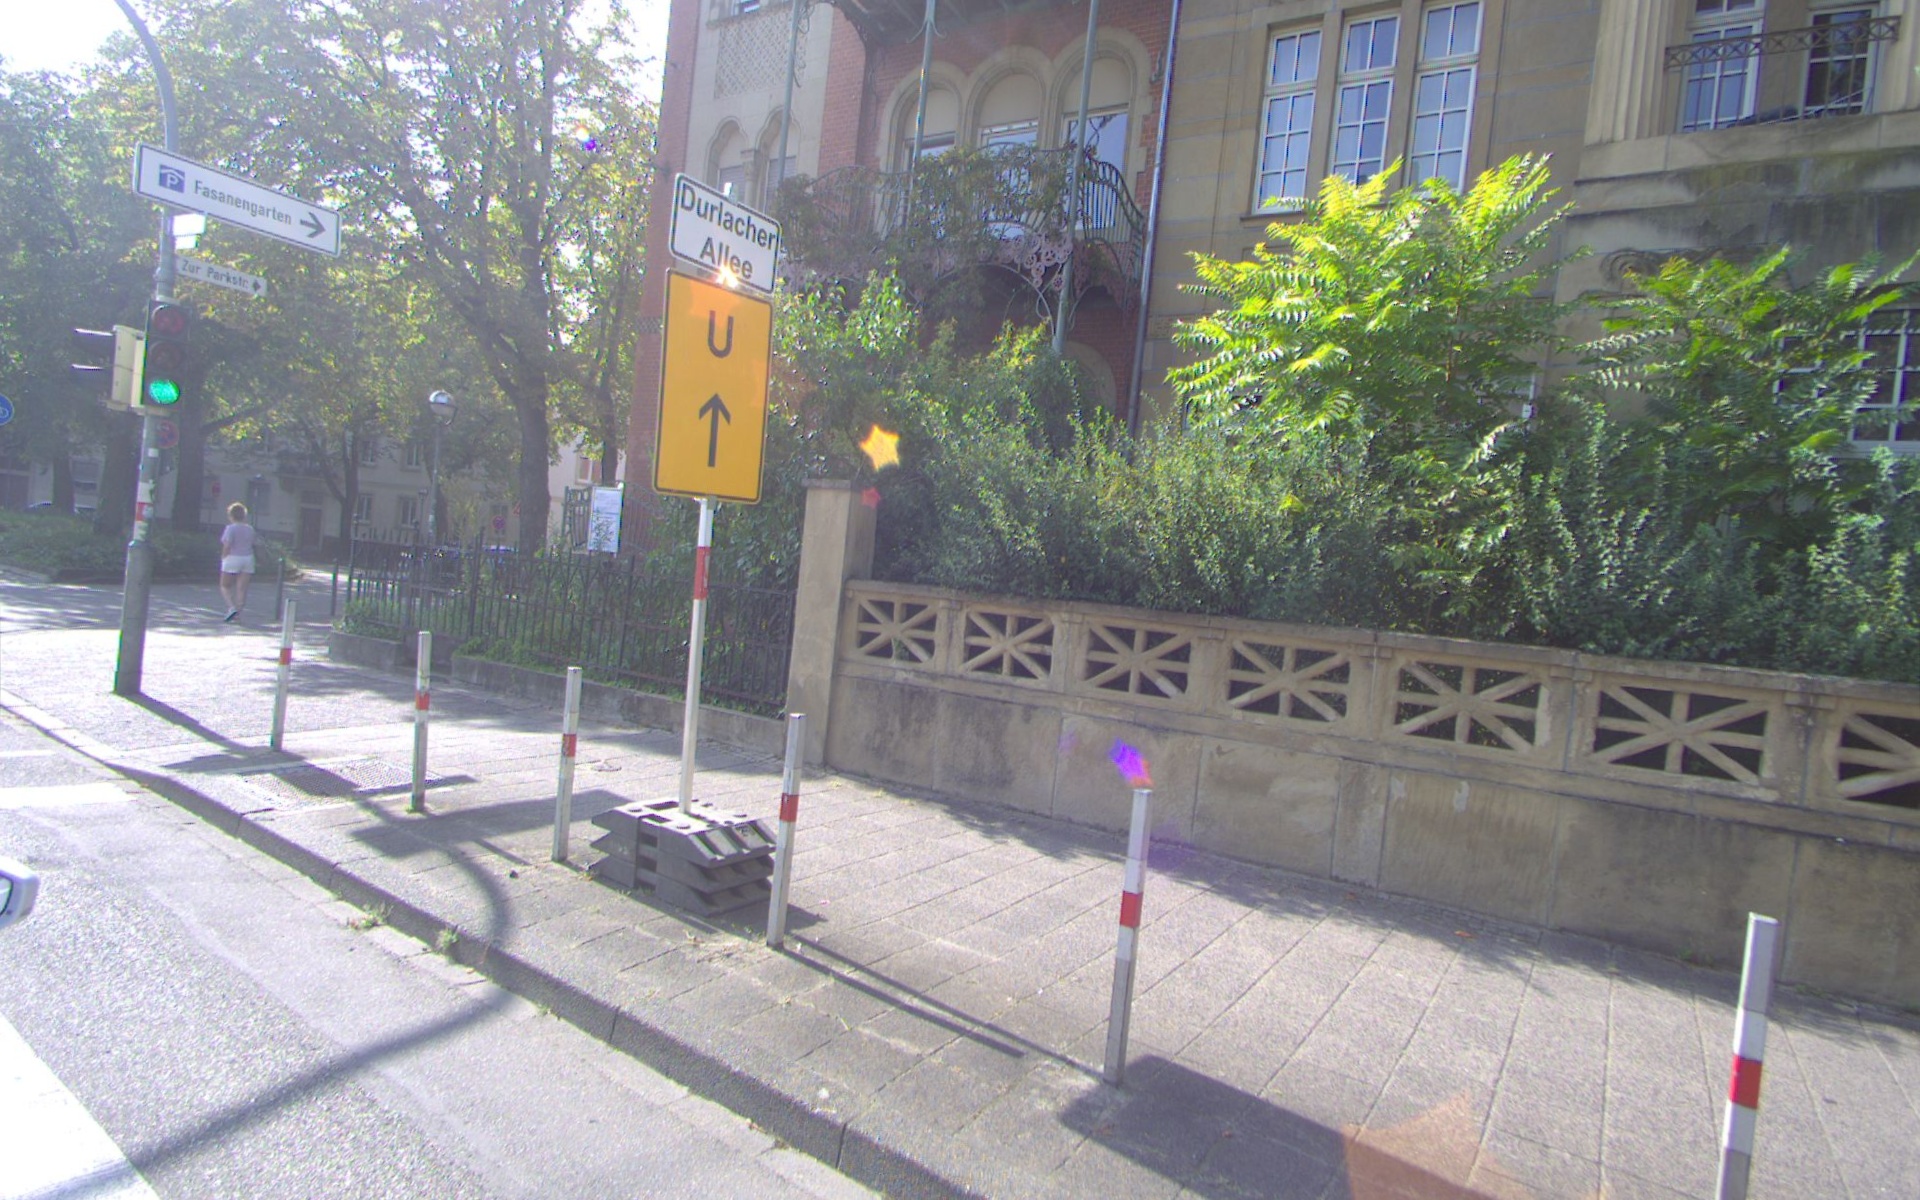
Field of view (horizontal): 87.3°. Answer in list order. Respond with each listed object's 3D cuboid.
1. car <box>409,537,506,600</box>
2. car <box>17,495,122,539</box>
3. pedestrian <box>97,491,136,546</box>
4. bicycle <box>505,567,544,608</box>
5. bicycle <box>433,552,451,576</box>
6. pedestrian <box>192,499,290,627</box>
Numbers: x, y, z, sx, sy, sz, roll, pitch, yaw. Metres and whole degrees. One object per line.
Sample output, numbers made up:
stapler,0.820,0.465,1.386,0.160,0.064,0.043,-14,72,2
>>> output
car,-14.657,-0.936,29.529,1.587,1.534,4.213,7,1,-15
car,-39.068,-3.639,44.126,4.070,1.447,1.757,6,1,22
pedestrian,-28.938,-2.789,34.515,0.887,1.762,0.767,5,1,-40
bicycle,-11.474,-0.334,26.548,0.418,0.990,1.767,6,0,-8
bicycle,-22.776,-1.593,44.238,0.420,0.990,1.548,6,1,-21
pedestrian,-10.453,-0.523,14.635,0.757,1.753,0.752,6,1,22
